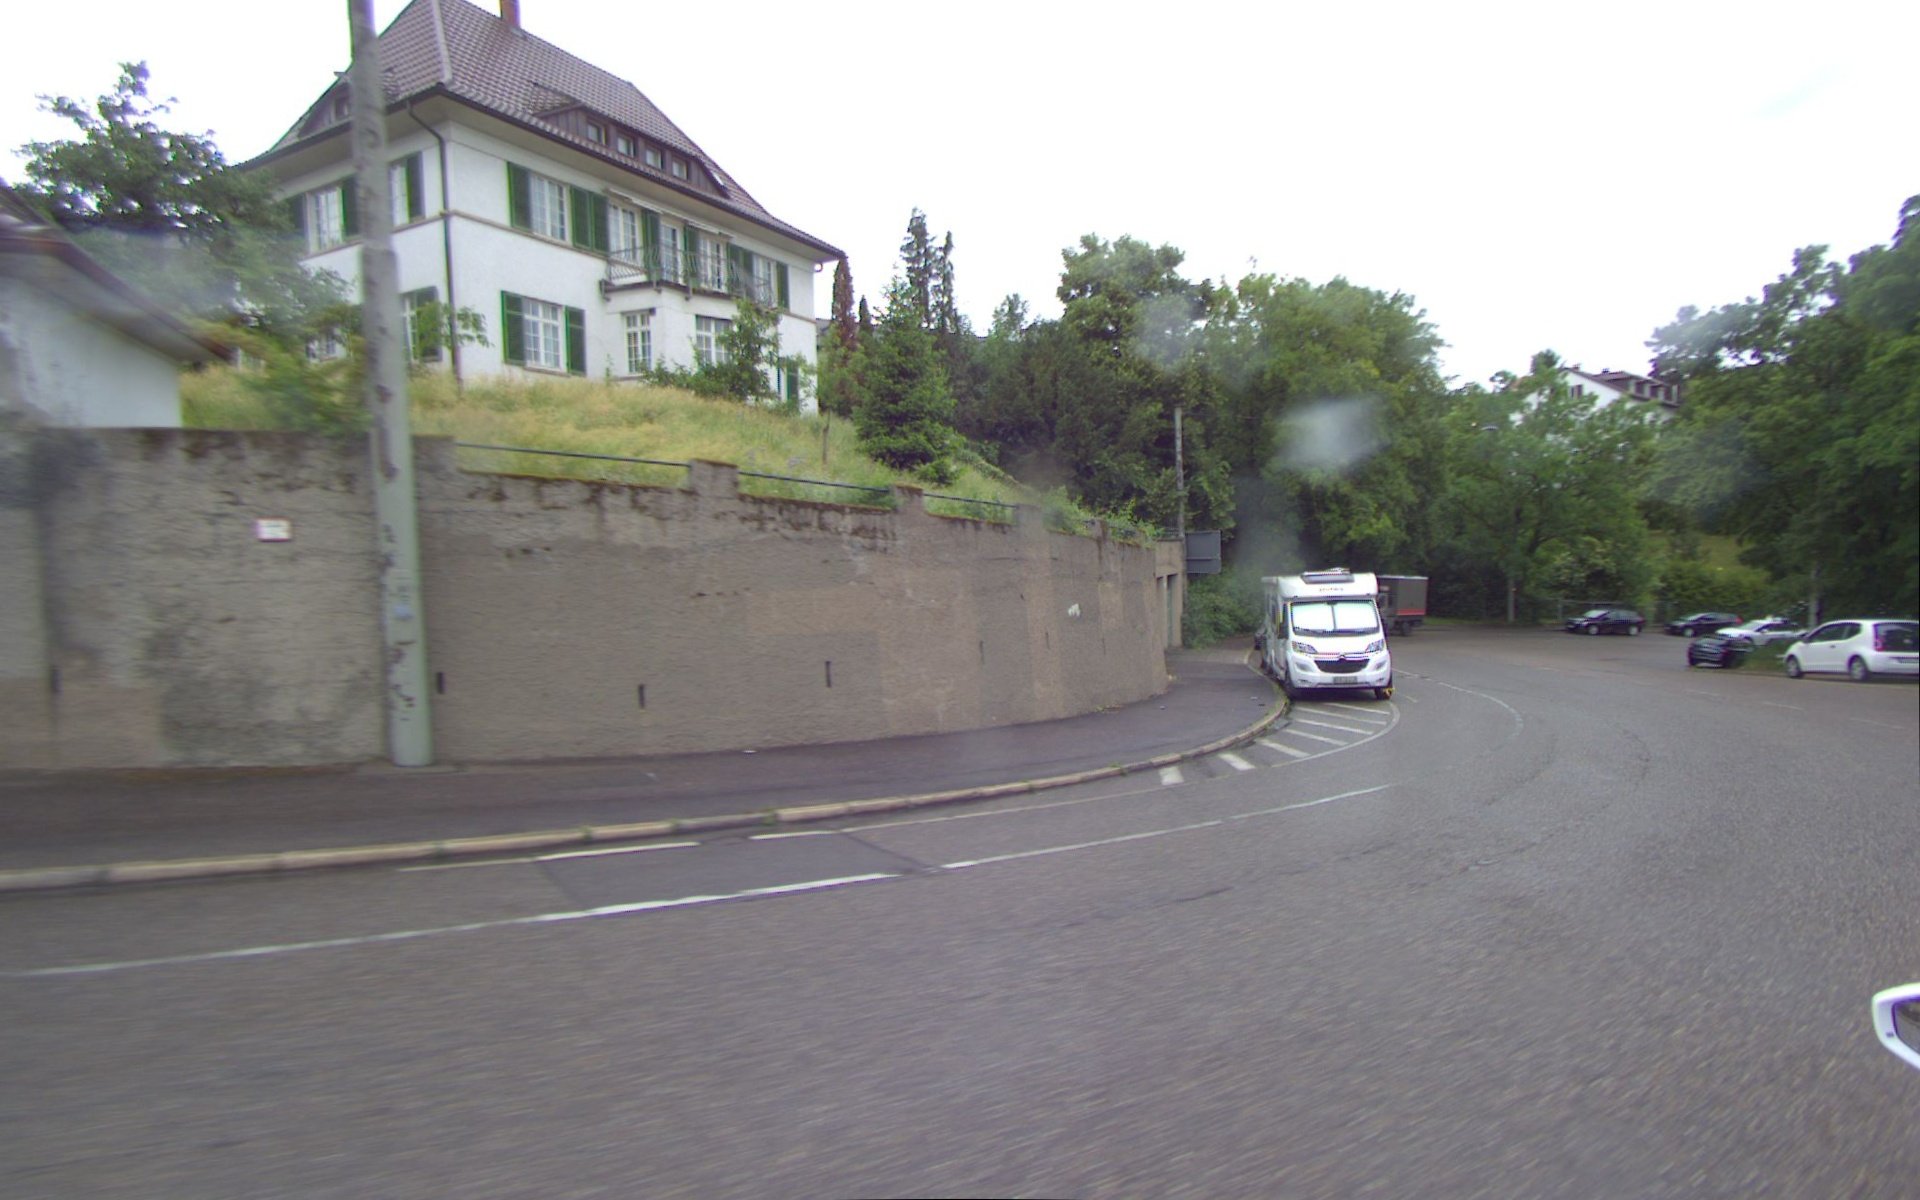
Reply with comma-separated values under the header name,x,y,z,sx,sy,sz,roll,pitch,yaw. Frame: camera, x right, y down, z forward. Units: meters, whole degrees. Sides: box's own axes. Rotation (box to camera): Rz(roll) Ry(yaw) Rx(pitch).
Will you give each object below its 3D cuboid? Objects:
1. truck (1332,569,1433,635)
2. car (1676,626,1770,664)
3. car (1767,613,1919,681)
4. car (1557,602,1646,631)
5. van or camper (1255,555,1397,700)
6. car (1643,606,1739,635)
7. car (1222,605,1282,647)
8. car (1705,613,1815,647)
name,x,y,z,sx,sy,sz,roll,pitch,yaw
truck,21.999,0.090,52.146,6.561,3.145,2.015,1,3,-41
car,34.085,2.014,44.858,3.980,1.485,1.643,2,5,-26
car,21.741,1.115,24.565,1.558,1.521,3.670,1,-1,11
car,38.363,0.992,60.106,4.233,1.485,1.781,1,5,-8
van or camper,8.322,0.559,23.532,2.119,2.826,7.053,-2,0,12
car,43.667,1.191,60.051,4.225,1.375,1.759,2,6,7
car,12.073,1.027,41.377,1.673,1.519,4.525,1,1,25
car,43.661,1.621,54.912,4.366,1.591,1.805,2,1,6
